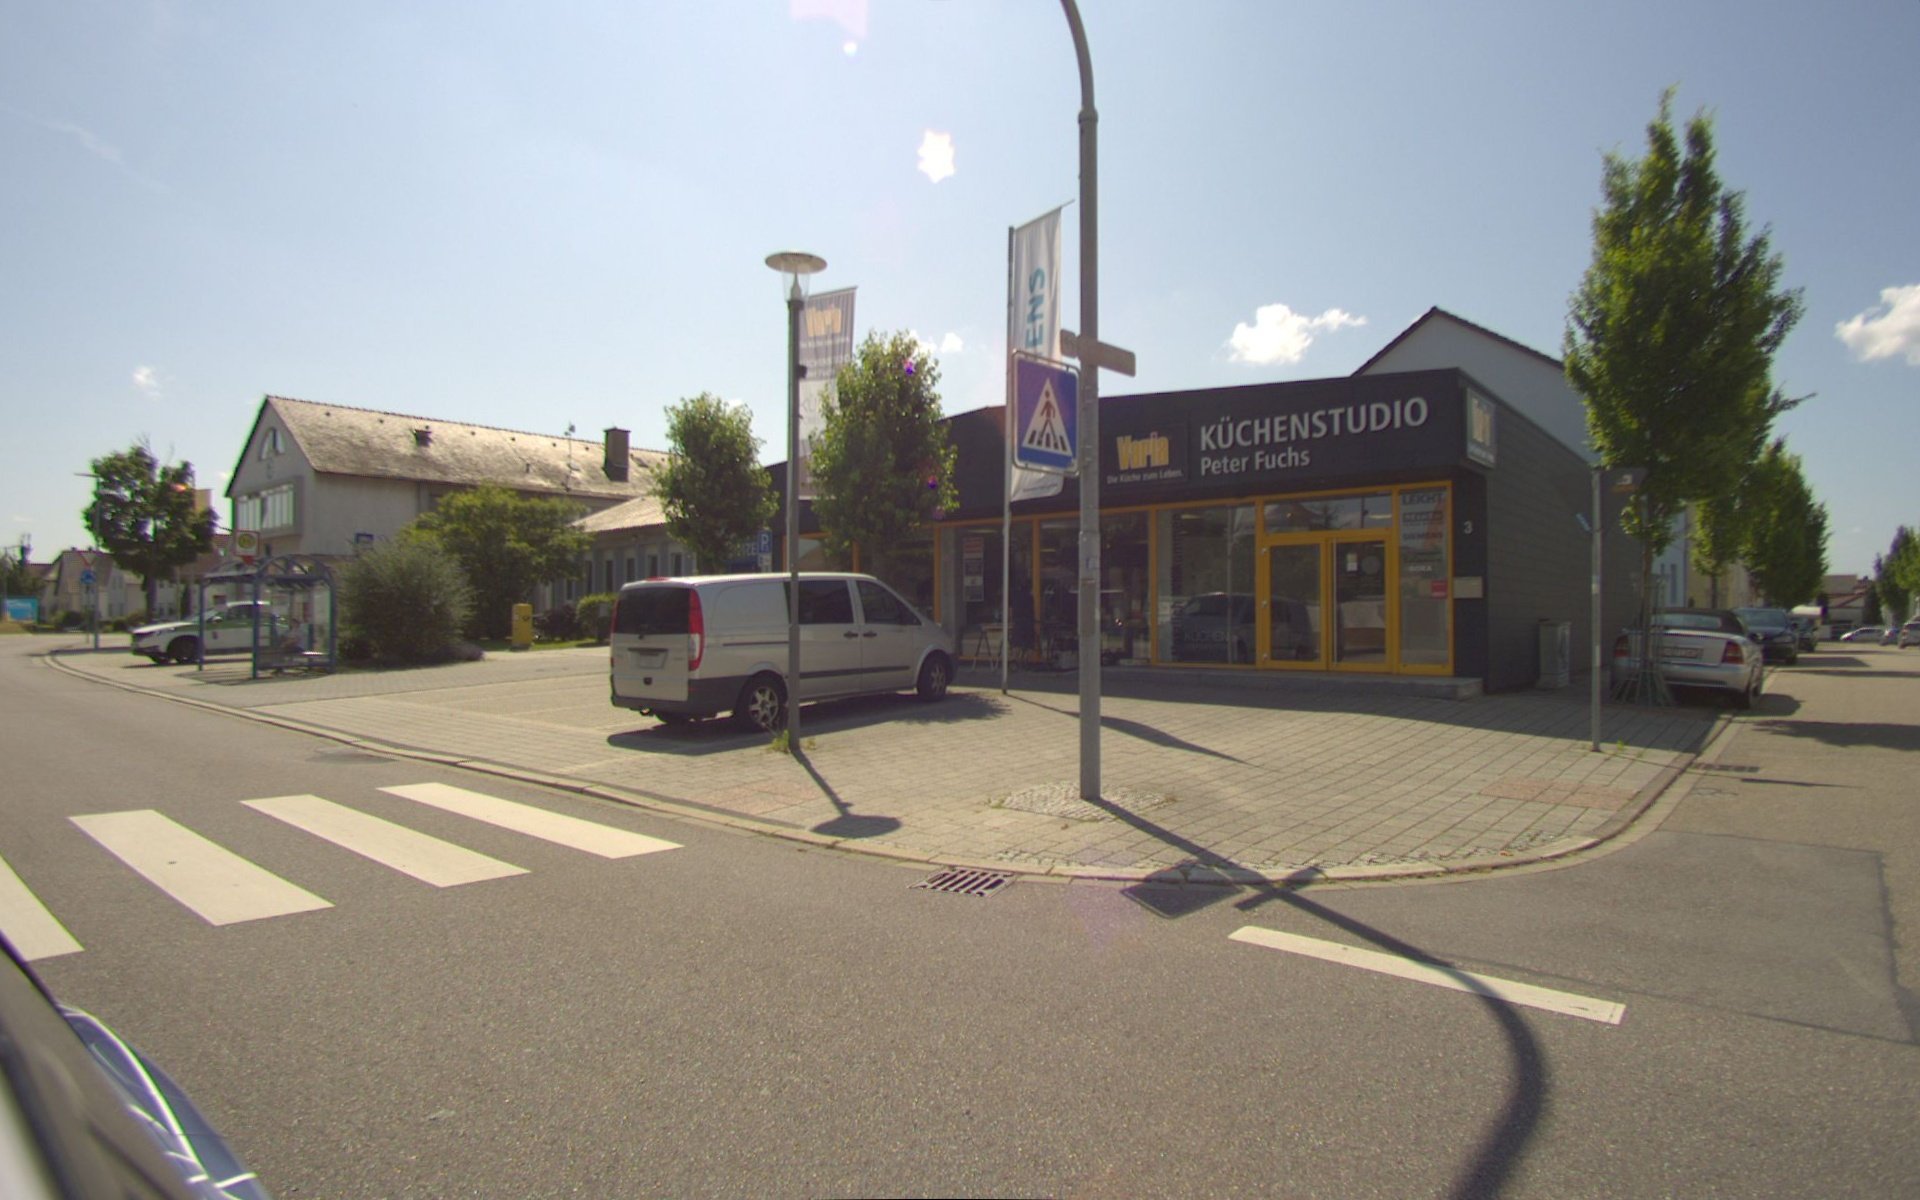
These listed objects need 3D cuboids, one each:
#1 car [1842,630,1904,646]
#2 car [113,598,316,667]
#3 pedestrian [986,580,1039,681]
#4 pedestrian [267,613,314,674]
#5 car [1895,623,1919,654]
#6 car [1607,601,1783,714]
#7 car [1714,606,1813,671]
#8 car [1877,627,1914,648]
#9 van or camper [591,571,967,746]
[{"bbox_3d":[89.556,3.742,99.313,4.438,1.524,1.972,-2,-1,42],"label":"car"},{"bbox_3d":[-20.945,0.846,28.591,1.941,1.732,4.203,0,1,35],"label":"car"},{"bbox_3d":[0.962,0.546,18.510,0.922,1.788,1.069,0,-1,4],"label":"pedestrian"},{"bbox_3d":[-15.374,0.974,23.239,0.607,1.368,0.777,-1,-1,41],"label":"pedestrian"},{"bbox_3d":[58.374,2.295,61.510,1.999,1.753,4.379,-3,-2,40],"label":"car"},{"bbox_3d":[11.413,0.781,15.588,1.866,1.473,4.379,0,-1,40],"label":"car"},{"bbox_3d":[21.068,0.978,26.528,1.866,1.473,4.380,2,0,39],"label":"car"},{"bbox_3d":[78.626,3.150,85.084,1.999,1.753,4.379,-3,-3,40],"label":"car"},{"bbox_3d":[-2.167,0.612,13.345,1.998,1.876,4.693,-2,0,39],"label":"van or camper"}]
